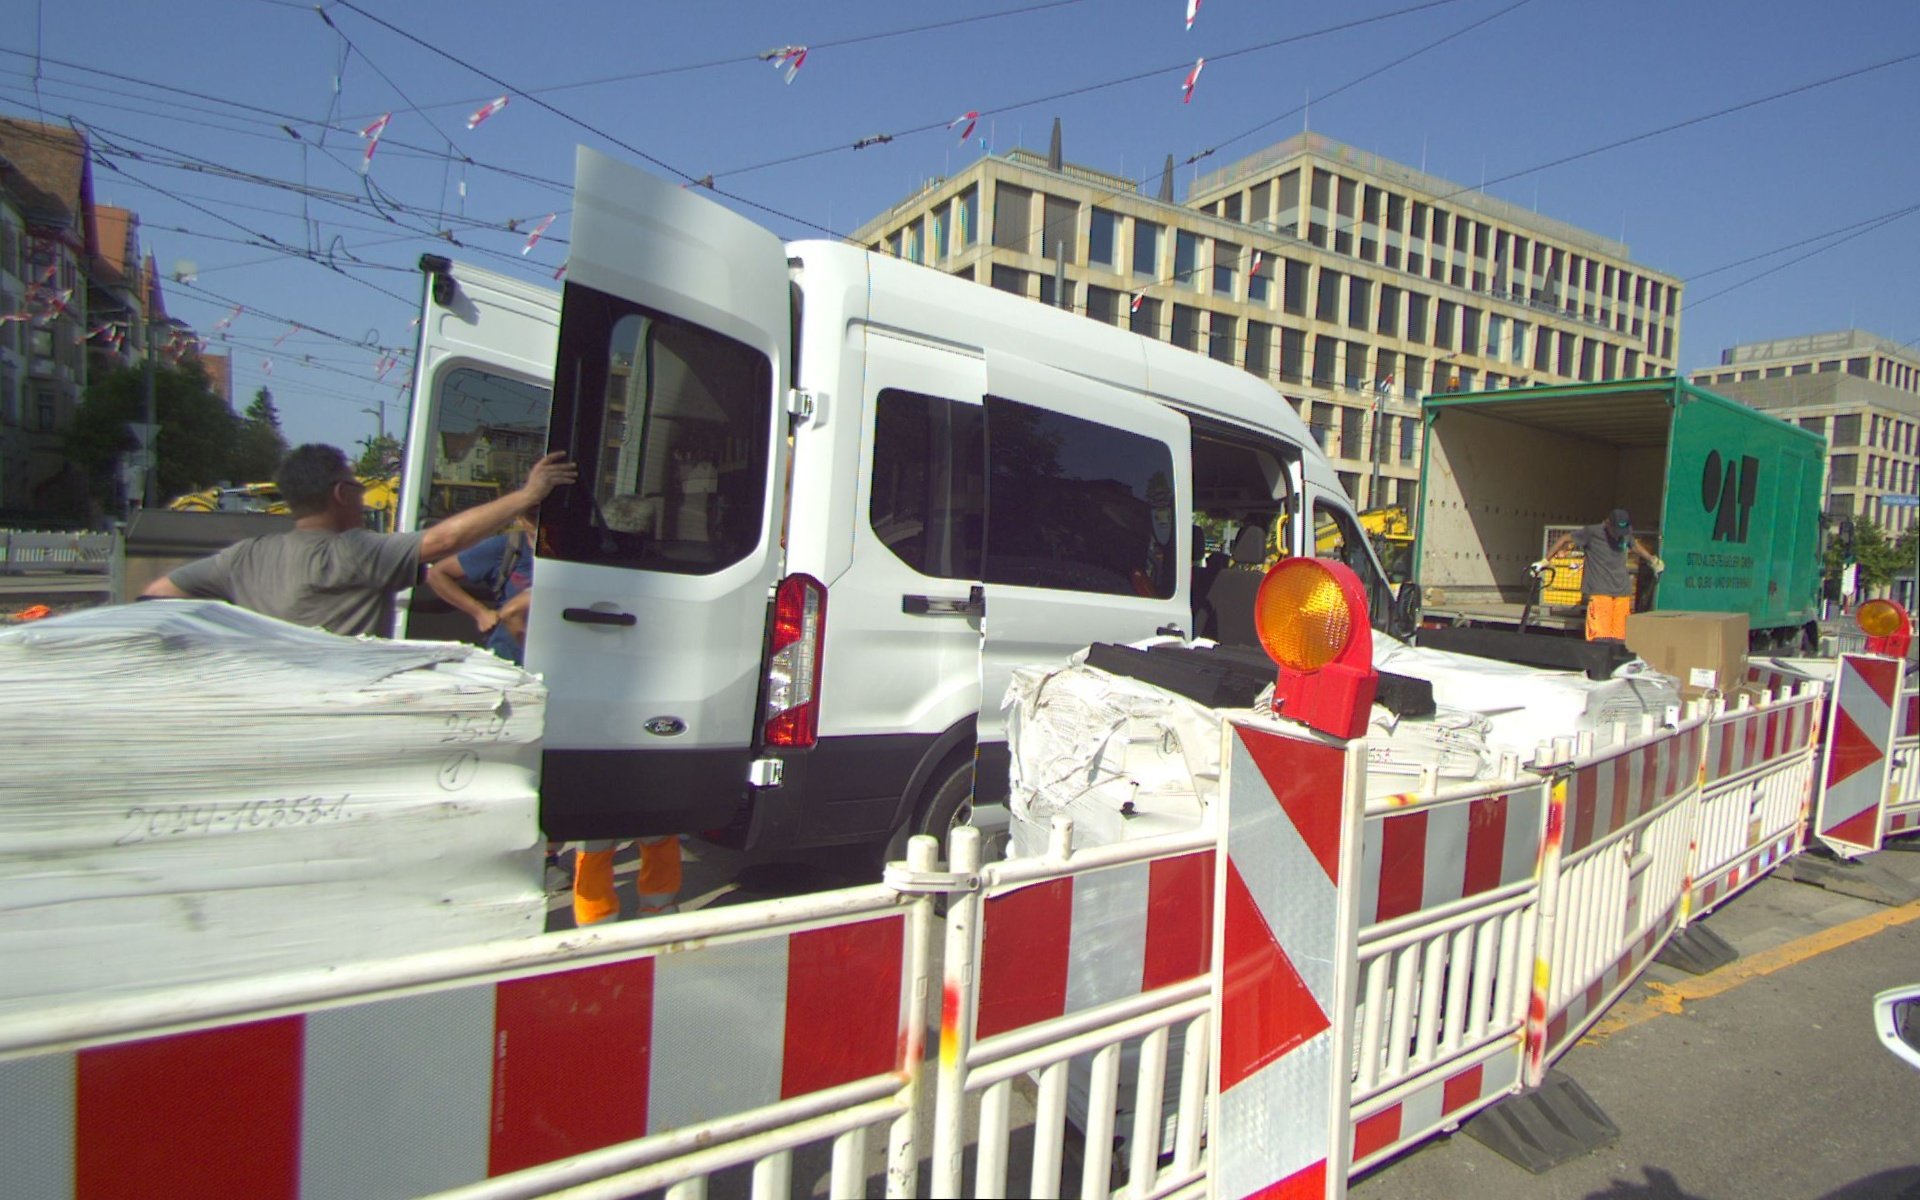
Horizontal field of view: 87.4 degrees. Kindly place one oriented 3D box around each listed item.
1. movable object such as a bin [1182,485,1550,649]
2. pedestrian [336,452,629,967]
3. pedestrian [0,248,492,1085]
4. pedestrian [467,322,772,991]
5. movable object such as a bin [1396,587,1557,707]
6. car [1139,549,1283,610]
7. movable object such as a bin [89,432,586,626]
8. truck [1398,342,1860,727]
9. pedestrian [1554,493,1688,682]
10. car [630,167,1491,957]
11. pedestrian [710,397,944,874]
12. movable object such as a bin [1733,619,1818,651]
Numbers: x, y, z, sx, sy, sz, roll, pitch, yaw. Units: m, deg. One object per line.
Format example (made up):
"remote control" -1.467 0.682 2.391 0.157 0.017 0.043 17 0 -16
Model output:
"movable object such as a bin" 11.154 -0.901 28.238 8.871 4.067 3.511 1 2 -6
"pedestrian" -2.045 0.433 4.399 0.889 2.041 0.736 2 2 2
"pedestrian" -1.969 0.157 2.851 0.889 2.041 0.736 2 2 4
"pedestrian" -1.213 0.178 3.571 0.894 2.041 0.732 1 2 -23
"movable object such as a bin" 5.180 0.454 10.075 1.462 1.107 0.641 1 3 -26
"car" 9.094 -0.725 36.291 5.052 2.058 1.804 1 3 -27
"movable object such as a bin" -12.351 -1.259 20.903 8.242 3.375 2.834 1 2 -28
"truck" 9.224 -0.694 13.353 8.142 3.728 2.652 0 3 -39
"pedestrian" 6.320 -0.128 9.653 0.750 1.716 0.707 2 2 6
"car" 0.952 -0.159 6.060 5.130 2.766 2.205 0 3 -41
"pedestrian" -0.657 0.154 4.808 0.895 2.041 0.732 1 2 -24
"movable object such as a bin" 19.745 0.839 24.358 0.688 0.661 1.508 1 2 -8
